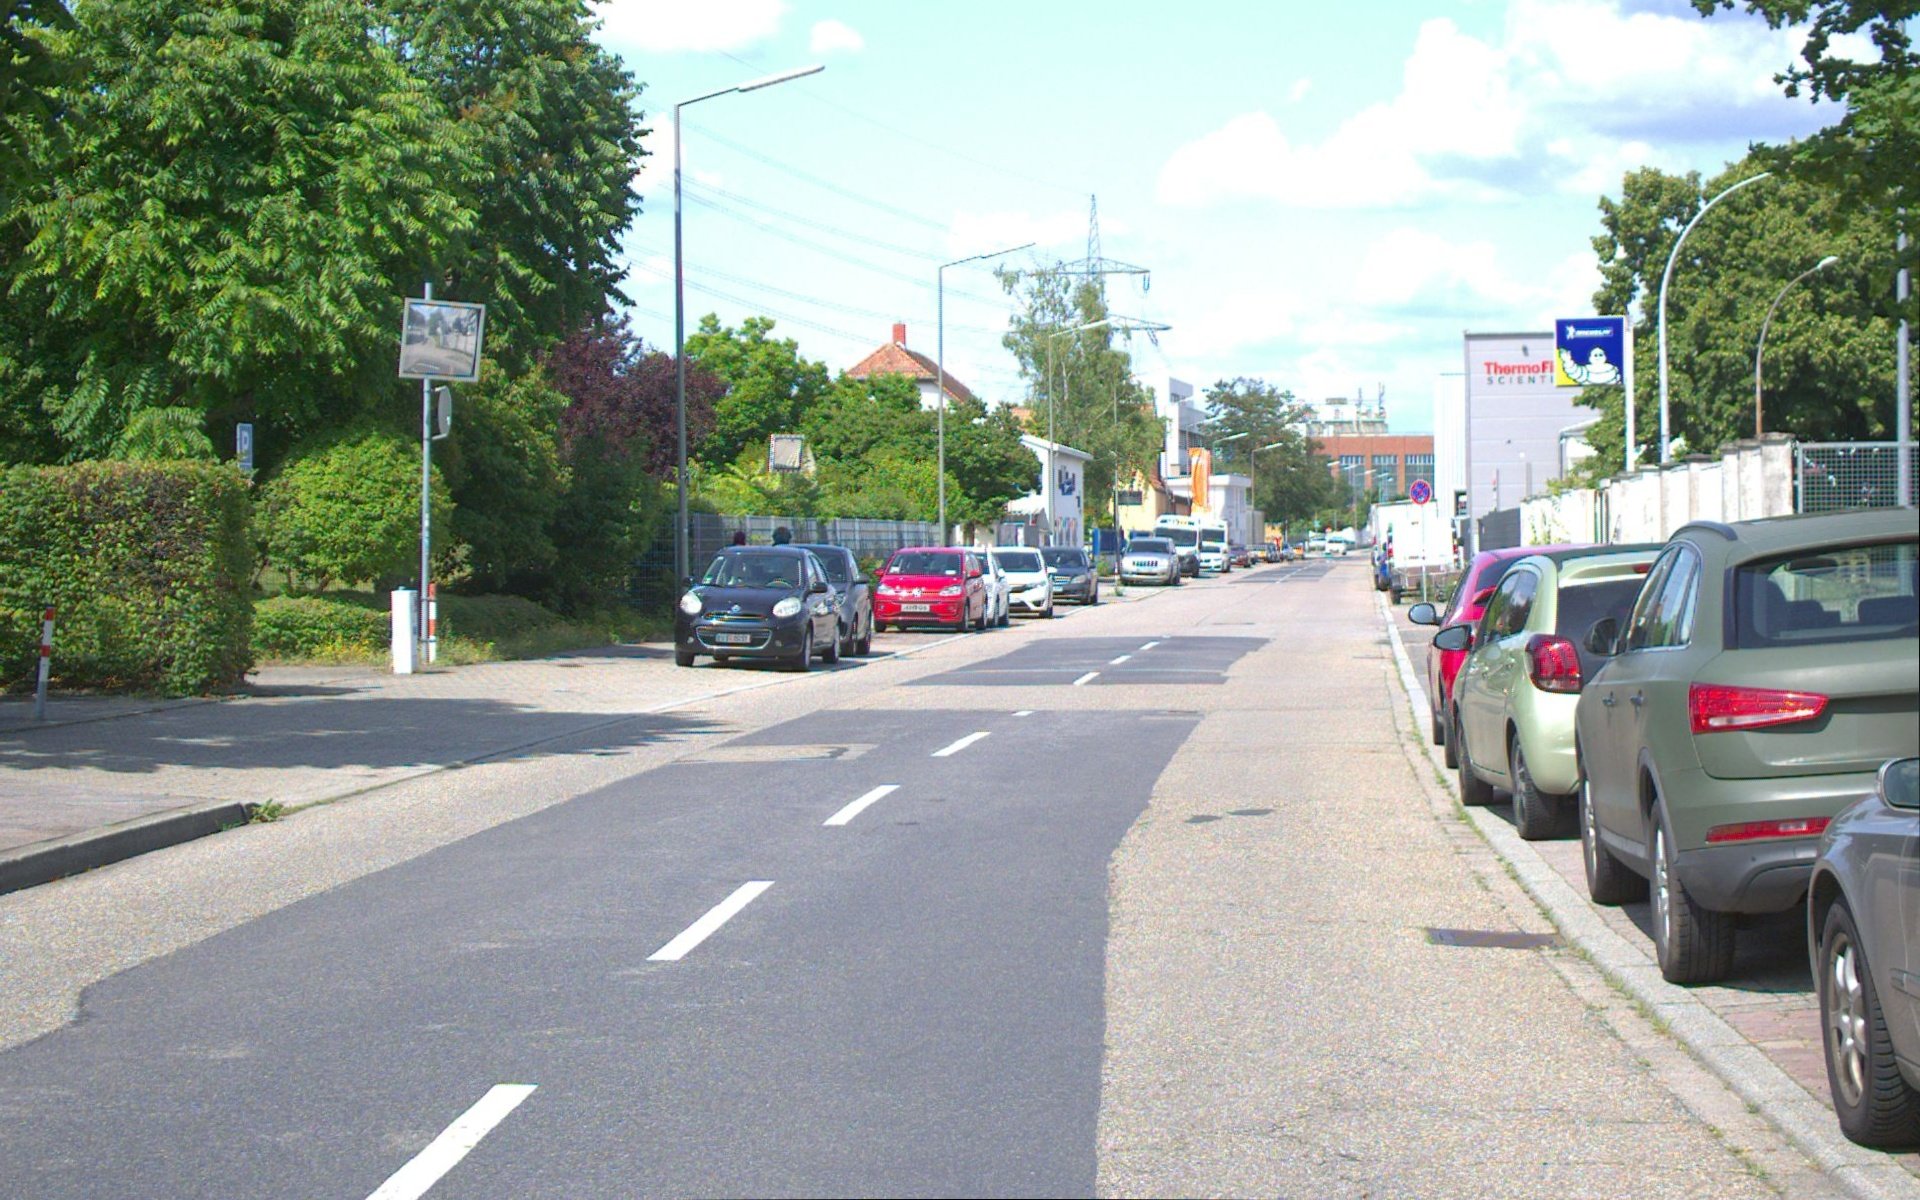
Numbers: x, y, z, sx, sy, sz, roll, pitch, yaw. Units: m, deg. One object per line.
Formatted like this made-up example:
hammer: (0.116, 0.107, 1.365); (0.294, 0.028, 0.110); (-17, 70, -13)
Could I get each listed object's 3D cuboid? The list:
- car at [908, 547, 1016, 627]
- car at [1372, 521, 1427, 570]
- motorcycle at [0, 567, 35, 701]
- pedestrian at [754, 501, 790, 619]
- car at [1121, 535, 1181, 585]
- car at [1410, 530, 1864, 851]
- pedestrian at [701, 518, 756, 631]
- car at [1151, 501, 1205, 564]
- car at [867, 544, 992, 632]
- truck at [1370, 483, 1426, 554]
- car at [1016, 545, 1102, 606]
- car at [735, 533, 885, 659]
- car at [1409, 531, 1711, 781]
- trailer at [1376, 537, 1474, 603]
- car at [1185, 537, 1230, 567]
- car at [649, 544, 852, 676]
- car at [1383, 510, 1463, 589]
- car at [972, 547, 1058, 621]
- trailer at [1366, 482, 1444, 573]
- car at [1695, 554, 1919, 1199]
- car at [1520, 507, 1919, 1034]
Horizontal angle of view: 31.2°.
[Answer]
car: (0.068, -0.265, 65.121); (1.645, 1.472, 4.028); (0, 1, 6)
car: (16.479, -2.071, 129.024); (1.936, 1.688, 4.679); (-3, 1, 7)
motorcycle: (-9.053, 0.321, 31.257); (0.532, 1.216, 2.085); (-1, 1, 5)
pedestrian: (-3.025, -0.638, 55.311); (0.451, 1.887, 0.677); (0, 0, 7)
car: (6.842, -1.446, 122.942); (1.791, 1.713, 4.750); (2, 1, 7)
car: (3.600, 0.423, 18.931); (1.699, 1.481, 3.807); (-4, 1, 1)
pedestrian: (-3.698, -0.403, 55.005); (0.708, 1.795, 0.916); (0, 0, 7)
car: (9.237, -2.820, 145.408); (2.030, 2.549, 6.656); (2, 1, 5)
car: (-0.504, -0.227, 60.371); (1.667, 1.462, 3.742); (1, 1, 8)
truck: (21.986, -4.065, 172.695); (2.459, 3.282, 6.816); (-5, 0, 7)
car: (2.487, -0.639, 85.653); (1.805, 1.414, 4.496); (2, 1, 6)
car: (-2.075, -0.087, 48.421); (1.651, 1.639, 3.273); (3, 1, 5)
car: (4.093, 0.319, 24.006); (1.754, 1.481, 4.224); (-4, 1, 7)
trailer: (10.987, -0.713, 81.449); (1.749, 1.412, 4.549); (-3, 0, 2)
car: (11.887, -2.304, 164.982); (1.797, 1.392, 4.500); (1, 1, 8)
car: (-2.597, 0.083, 43.573); (1.845, 1.503, 3.999); (3, 1, 7)
car: (12.337, -1.360, 91.863); (1.994, 2.007, 5.648); (-1, 1, 7)
car: (1.208, -0.371, 74.134); (1.620, 1.517, 4.175); (0, 1, 4)
trailer: (14.297, -2.310, 110.728); (2.205, 2.727, 6.220); (-3, 0, 6)
car: (3.021, 0.627, 7.126); (1.875, 1.472, 5.168); (-3, 1, 1)
car: (3.312, 0.483, 13.159); (1.833, 1.602, 4.568); (-4, 1, 5)
